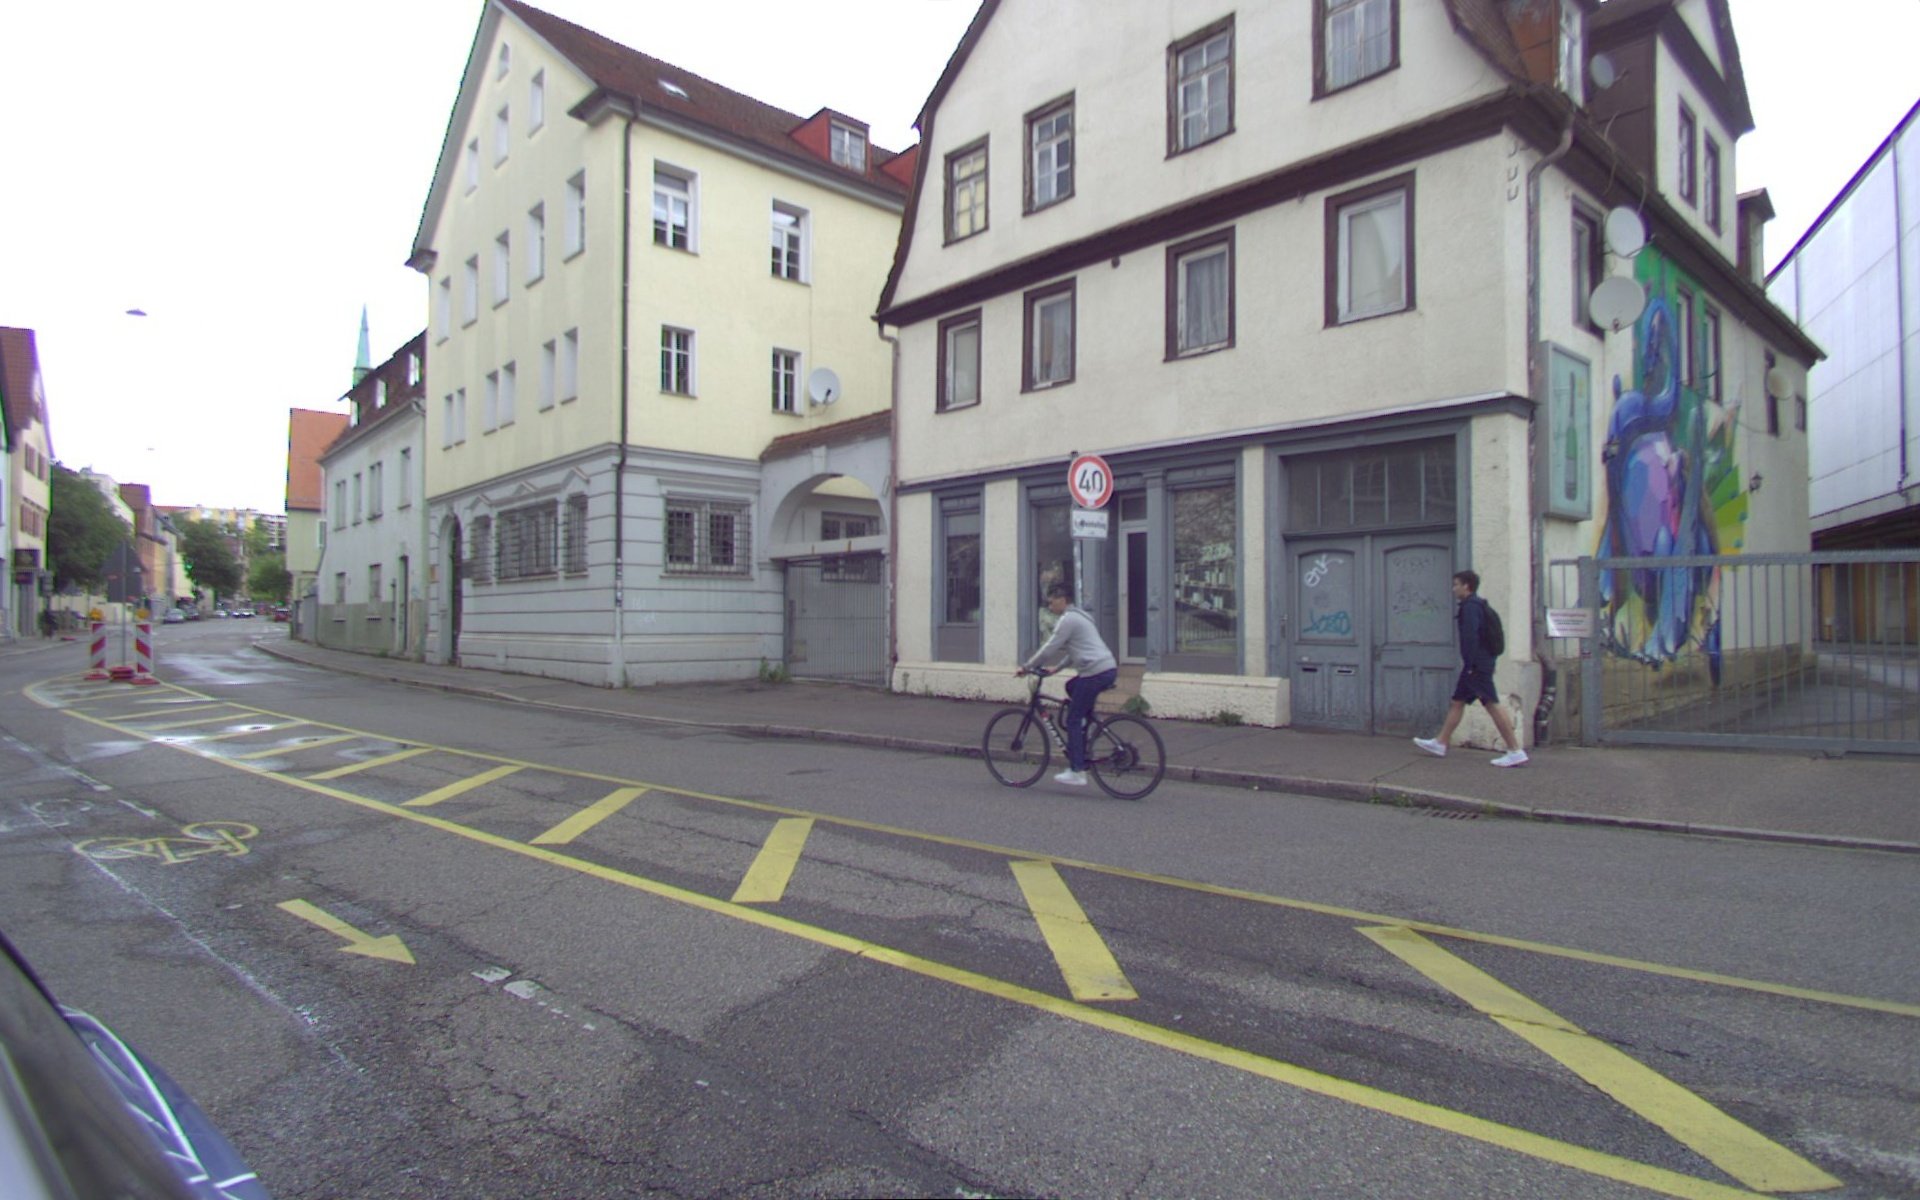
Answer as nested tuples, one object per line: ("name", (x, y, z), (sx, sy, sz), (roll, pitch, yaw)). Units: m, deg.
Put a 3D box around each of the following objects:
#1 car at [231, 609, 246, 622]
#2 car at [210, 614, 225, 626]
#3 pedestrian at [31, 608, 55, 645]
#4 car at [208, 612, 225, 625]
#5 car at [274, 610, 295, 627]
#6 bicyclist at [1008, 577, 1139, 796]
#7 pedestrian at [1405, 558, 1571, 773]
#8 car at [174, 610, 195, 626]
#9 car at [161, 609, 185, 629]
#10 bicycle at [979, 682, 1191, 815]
("car", (-118.651, 2.610, 166.386), (1.967, 2.029, 4.009), (1, -2, -37))
("car", (-123.434, 3.328, 168.170), (1.967, 2.029, 4.009), (1, -2, -37))
("pedestrian", (-48.428, 1.406, 53.477), (0.865, 1.914, 0.899), (1, -2, -39))
("car", (-114.778, 2.869, 156.218), (1.967, 2.029, 4.009), (1, -2, -37))
("car", (-85.673, 2.337, 128.354), (2.027, 2.029, 4.009), (1, -2, -37))
("bicyclist", (0.949, 0.693, 8.490), (0.714, 1.714, 0.812), (1, -2, -43))
("pedestrian", (5.068, 0.592, 9.713), (1.092, 1.900, 1.042), (-4, -2, 44))
("car", (-97.091, 2.254, 126.721), (1.967, 2.029, 4.009), (1, -2, -37))
("car", (-84.801, 2.065, 109.039), (1.967, 2.029, 4.009), (1, -2, -37))
("bicycle", (0.986, 1.180, 8.454), (0.534, 0.899, 1.883), (1, -2, -41))
